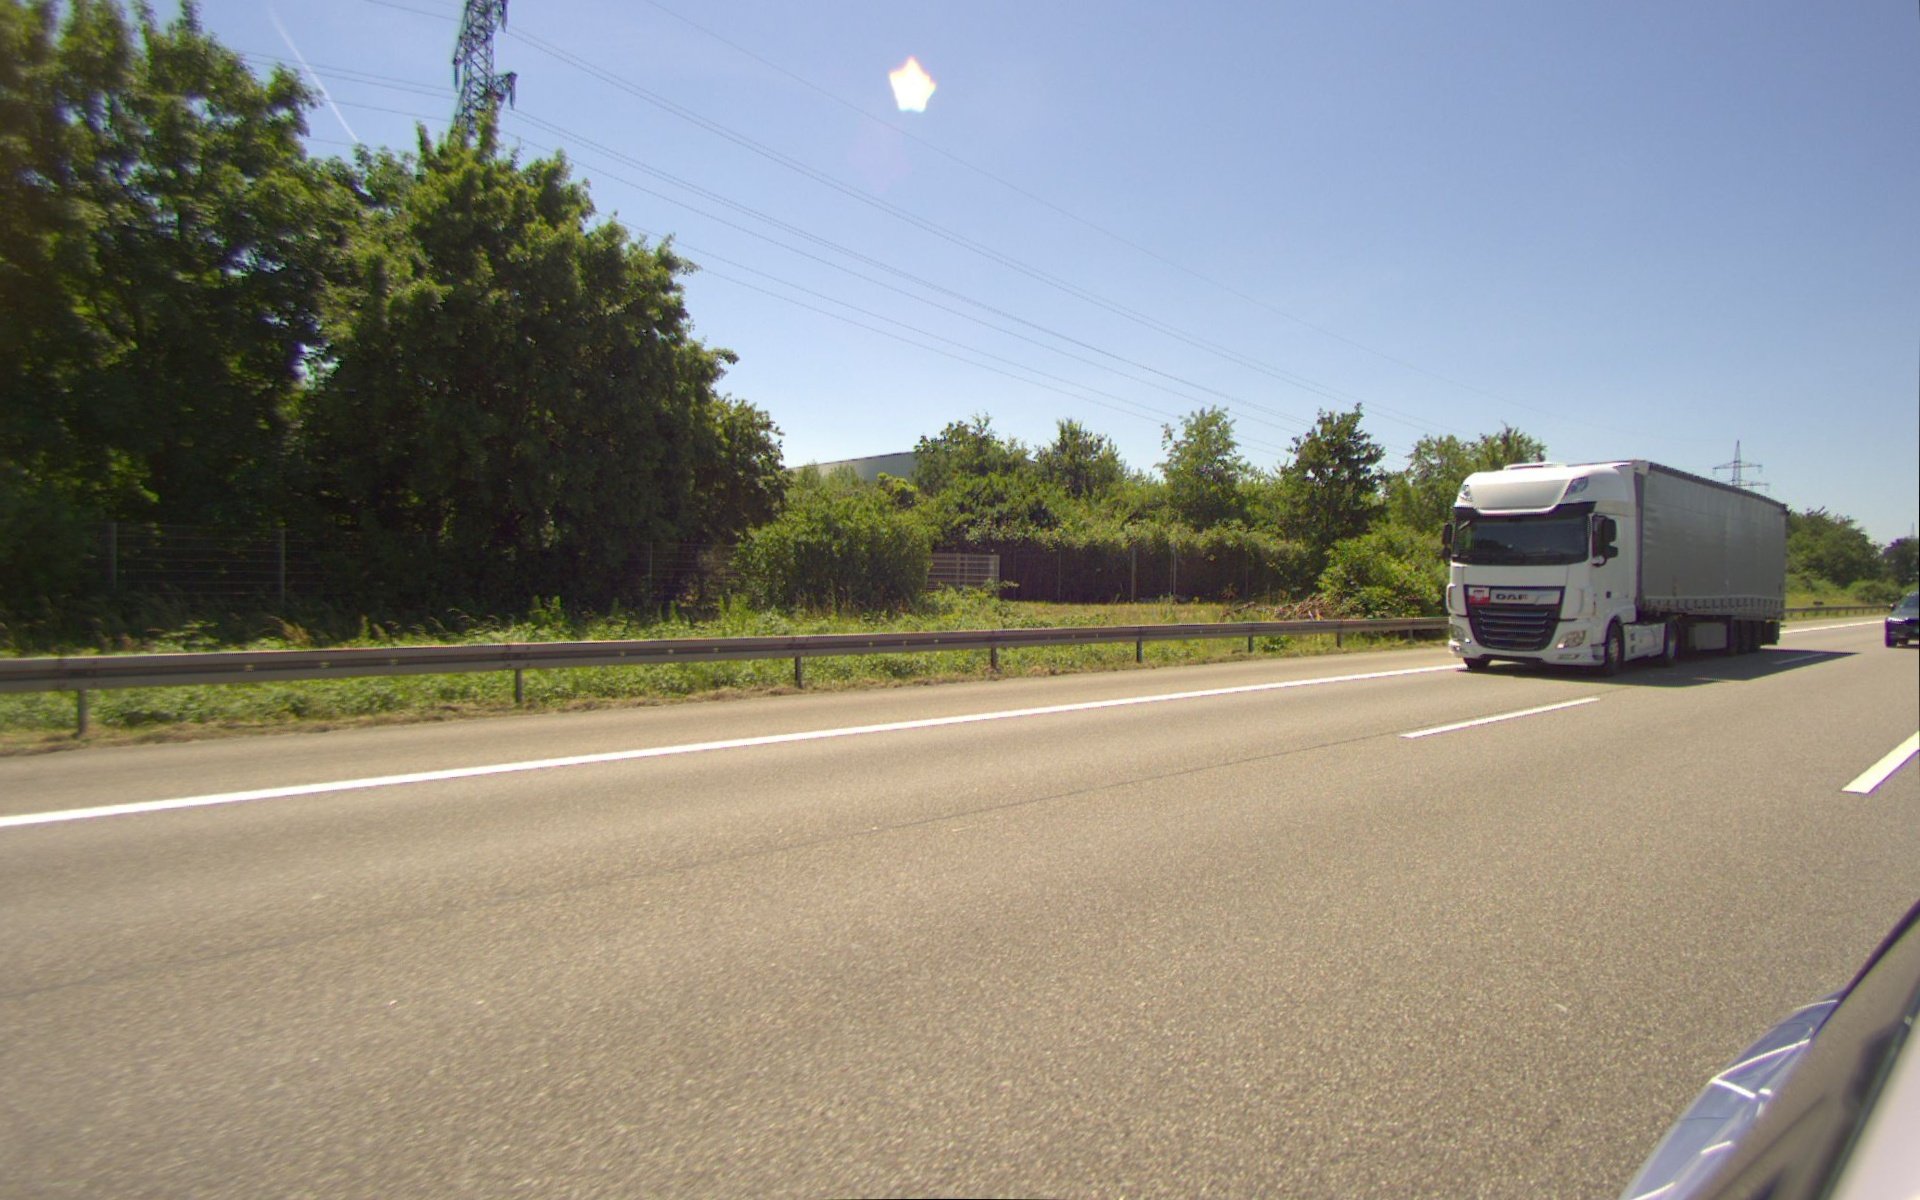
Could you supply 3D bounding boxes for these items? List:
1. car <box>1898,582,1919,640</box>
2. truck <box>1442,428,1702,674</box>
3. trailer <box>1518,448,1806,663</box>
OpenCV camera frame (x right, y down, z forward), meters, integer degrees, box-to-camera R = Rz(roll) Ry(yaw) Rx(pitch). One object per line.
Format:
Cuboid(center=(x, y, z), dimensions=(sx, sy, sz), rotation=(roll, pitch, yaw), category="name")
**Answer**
Cuboid(center=(28.923, 0.316, 29.547), dimensions=(3.934, 1.643, 1.877), rotation=(0, 1, -41), category="car")
Cuboid(center=(12.321, -0.871, 20.179), dimensions=(6.018, 4.171, 2.741), rotation=(0, 1, -41), category="truck")
Cuboid(center=(17.714, -0.911, 24.893), dimensions=(12.893, 4.158, 2.741), rotation=(0, 1, -41), category="trailer")
